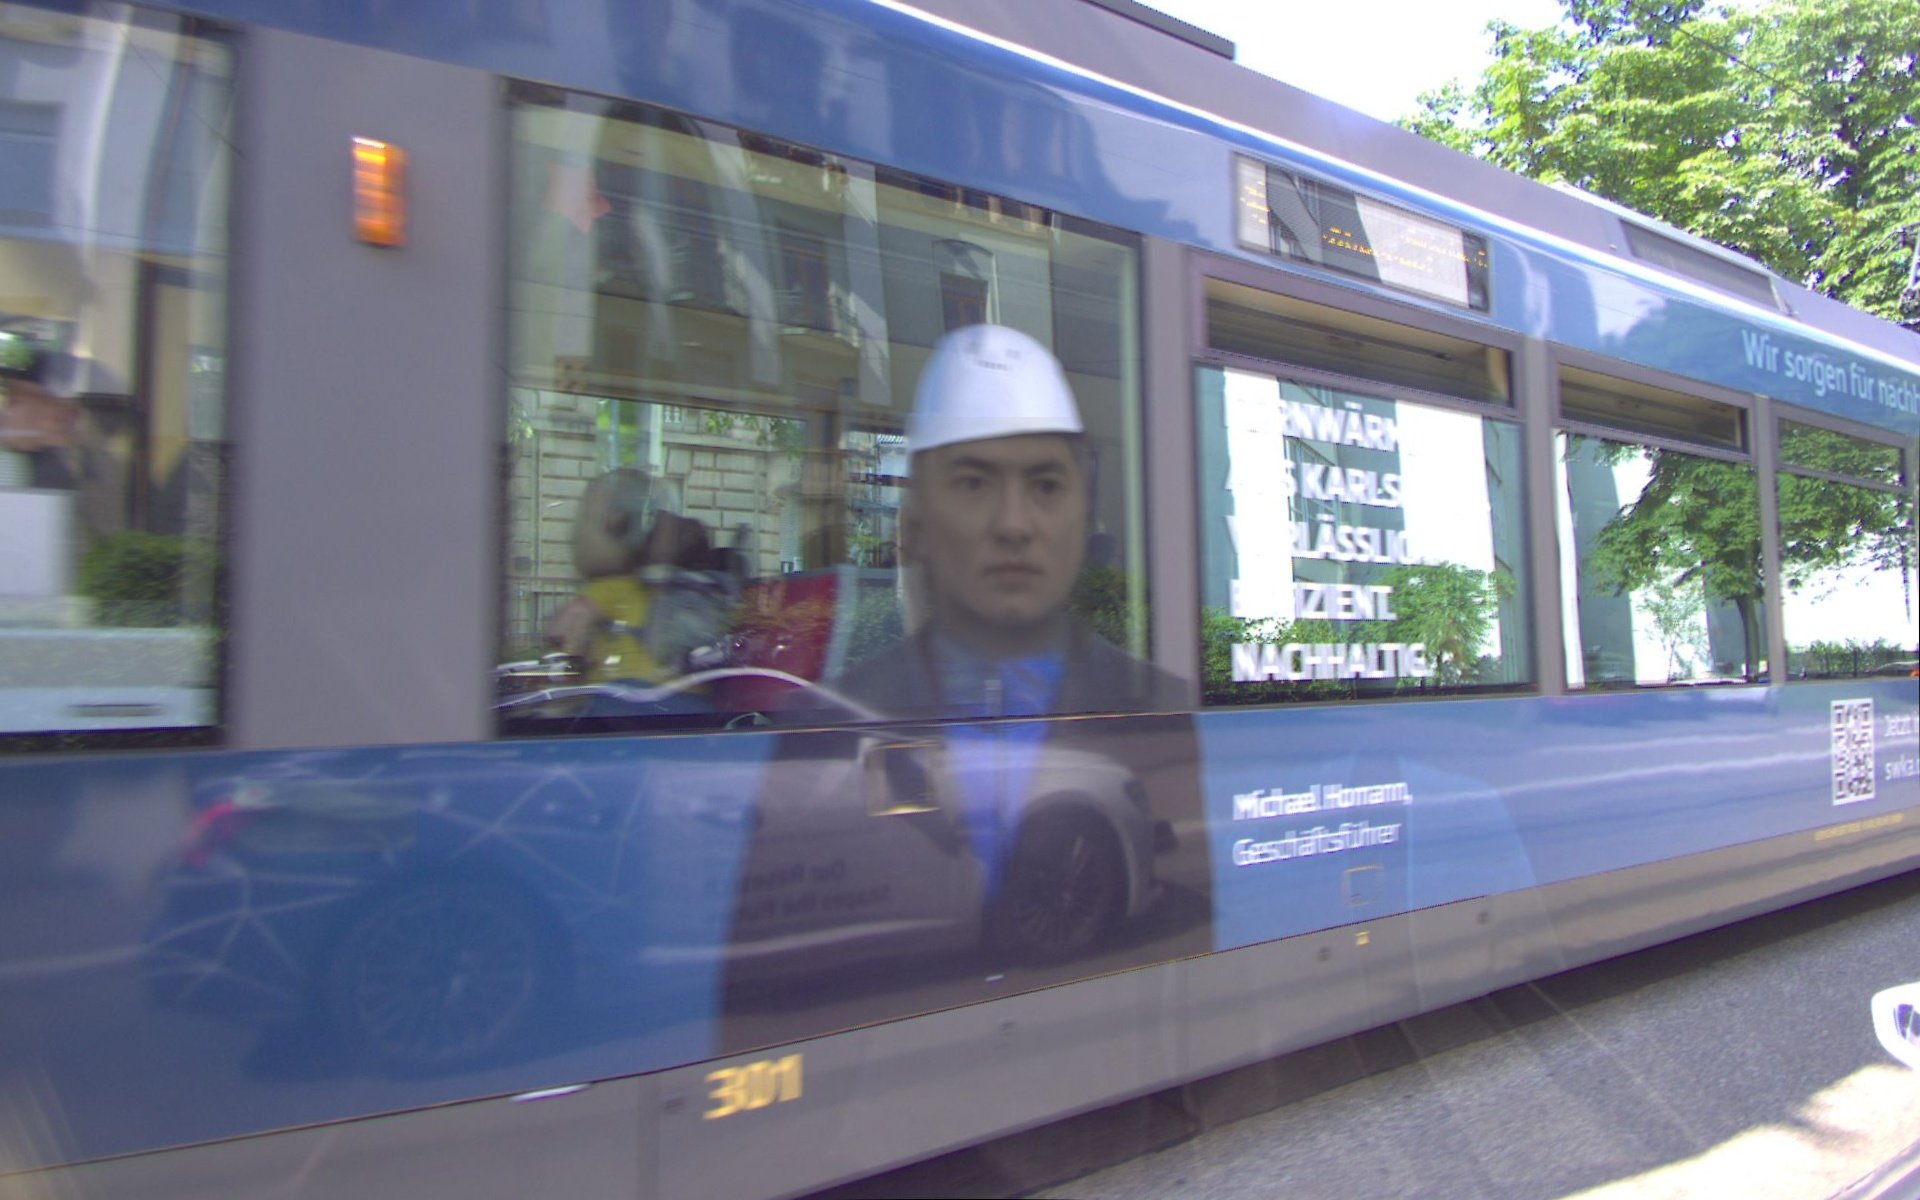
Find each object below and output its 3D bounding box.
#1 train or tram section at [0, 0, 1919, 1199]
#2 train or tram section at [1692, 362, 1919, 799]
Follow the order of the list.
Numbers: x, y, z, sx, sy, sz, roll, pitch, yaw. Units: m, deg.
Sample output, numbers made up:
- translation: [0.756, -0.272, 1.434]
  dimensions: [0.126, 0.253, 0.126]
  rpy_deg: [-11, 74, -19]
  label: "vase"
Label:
- translation: [2.200, -0.116, 5.011]
  dimensions: [12.169, 3.481, 2.641]
  rpy_deg: [1, -3, -30]
  label: "train or tram section"
- translation: [12.340, -0.030, 10.929]
  dimensions: [11.337, 3.433, 2.641]
  rpy_deg: [1, -3, -30]
  label: "train or tram section"
